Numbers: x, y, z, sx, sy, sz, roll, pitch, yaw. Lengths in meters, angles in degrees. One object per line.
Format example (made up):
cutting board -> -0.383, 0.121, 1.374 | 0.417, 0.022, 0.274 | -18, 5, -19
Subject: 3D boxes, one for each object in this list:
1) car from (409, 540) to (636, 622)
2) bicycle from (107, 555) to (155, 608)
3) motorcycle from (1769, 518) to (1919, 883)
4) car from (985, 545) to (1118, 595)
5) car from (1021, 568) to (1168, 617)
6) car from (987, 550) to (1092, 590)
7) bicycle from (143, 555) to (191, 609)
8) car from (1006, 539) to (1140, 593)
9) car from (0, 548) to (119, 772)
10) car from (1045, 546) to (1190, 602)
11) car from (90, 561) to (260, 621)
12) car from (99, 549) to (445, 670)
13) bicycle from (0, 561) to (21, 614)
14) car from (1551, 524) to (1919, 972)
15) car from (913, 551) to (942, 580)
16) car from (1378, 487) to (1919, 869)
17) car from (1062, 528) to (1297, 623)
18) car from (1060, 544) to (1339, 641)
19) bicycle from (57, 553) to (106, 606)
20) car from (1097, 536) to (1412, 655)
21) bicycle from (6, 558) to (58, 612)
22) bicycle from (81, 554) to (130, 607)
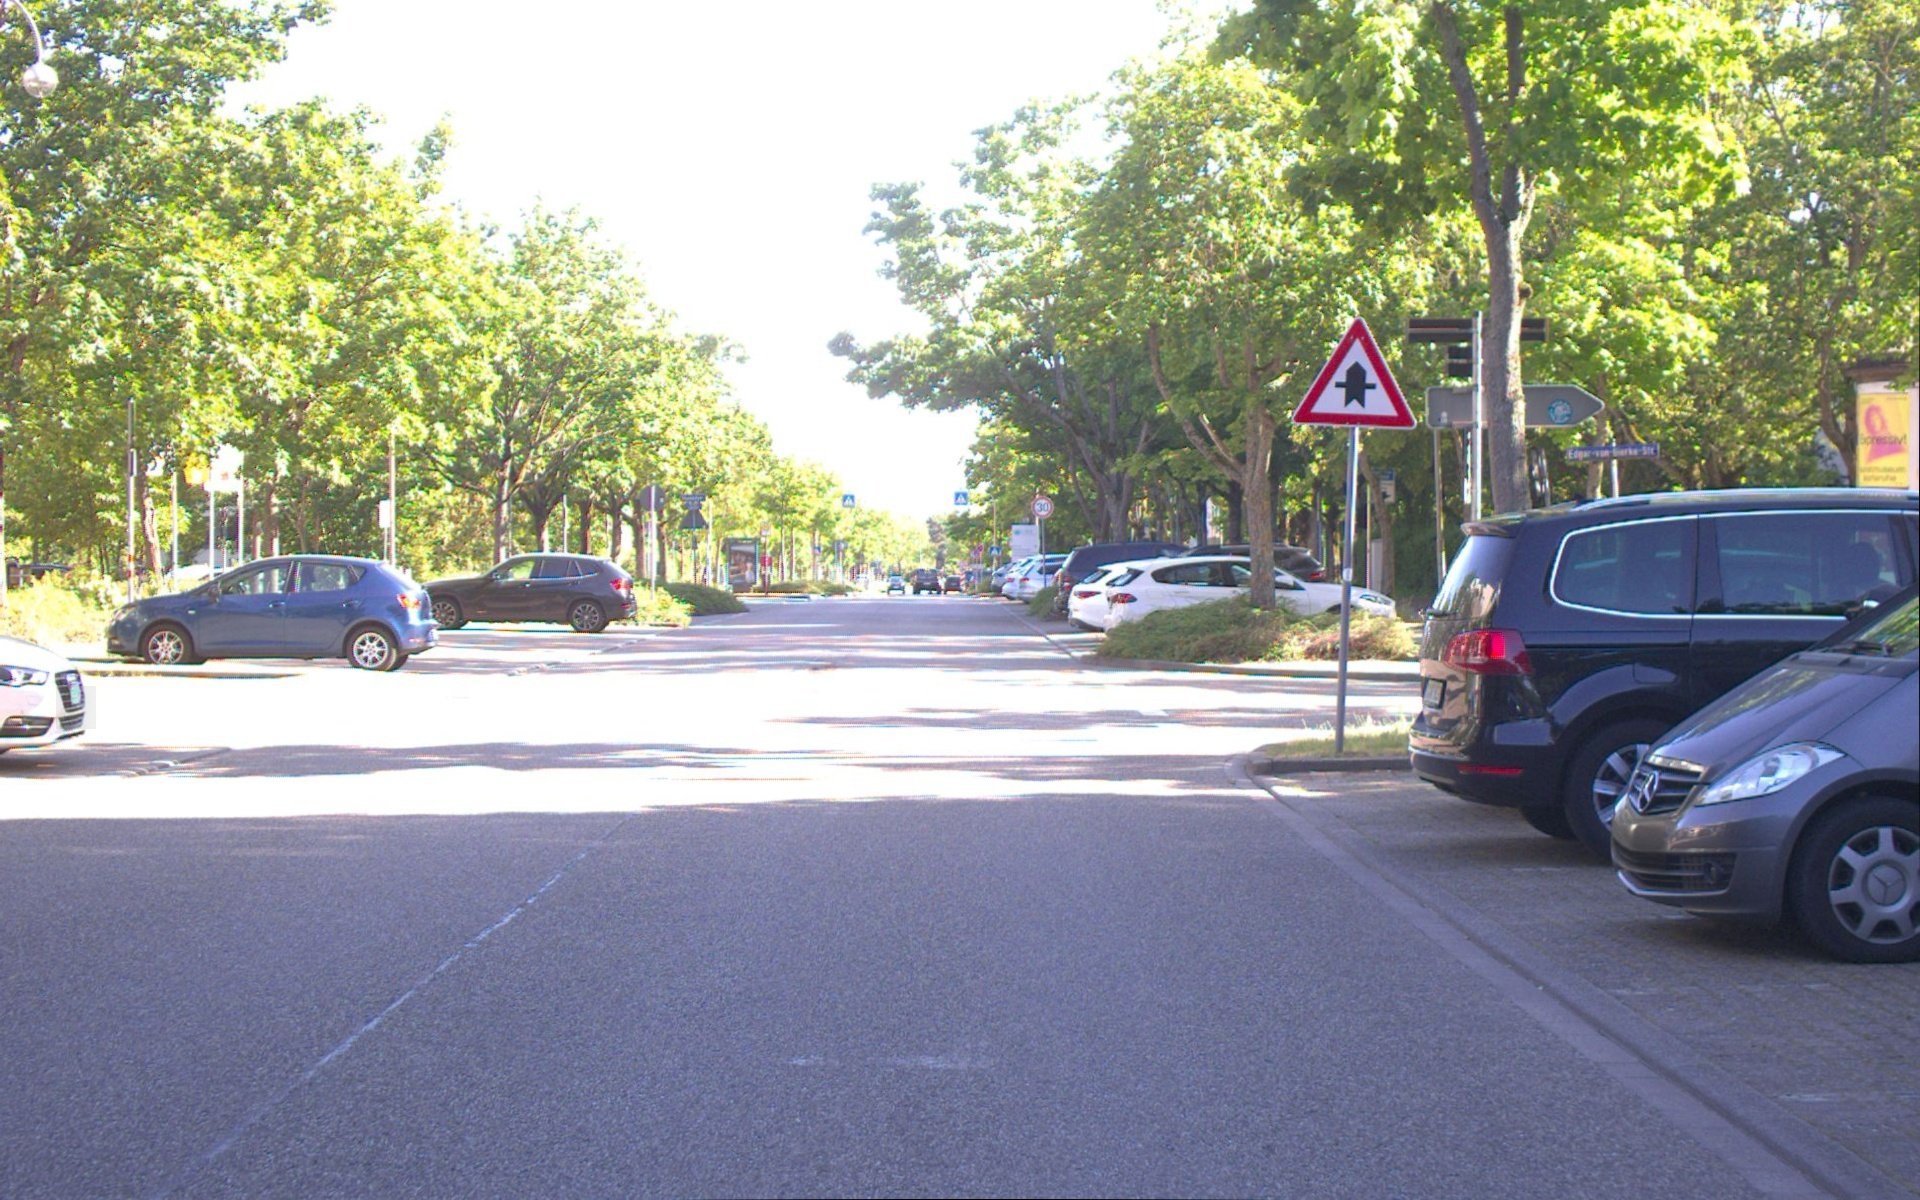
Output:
car -> -8.523, -0.371, 67.237 | 4.192, 1.515, 1.772 | 1, 0, 1
bicycle -> -16.831, -0.384, 69.835 | 0.437, 1.044, 2.193 | 1, 1, 0
motorcycle -> 4.851, 0.412, 15.268 | 2.308, 1.574, 0.767 | -1, 0, 1
car -> 3.075, -1.013, 115.930 | 4.342, 1.484, 1.738 | -2, 1, -2
car -> 4.004, -0.229, 102.145 | 4.275, 1.423, 1.827 | 0, 0, 5
car -> 3.229, -1.242, 140.296 | 4.164, 1.423, 2.000 | -3, 1, 0
bicycle -> -15.759, -0.365, 68.324 | 0.437, 1.044, 2.193 | 1, 1, 0
car -> 3.887, -1.170, 118.628 | 4.435, 1.642, 1.816 | -3, 1, -2
car -> -8.111, 0.376, 23.580 | 4.258, 1.475, 1.800 | 0, 1, -1
car -> 4.427, -0.751, 97.221 | 3.987, 1.446, 1.717 | -2, 1, 0
car -> -20.743, -0.242, 90.928 | 4.077, 1.446, 1.625 | -2, 0, 1
car -> -8.465, 0.108, 42.549 | 3.986, 1.407, 1.817 | 1, 0, -4
bicycle -> -19.240, -0.256, 68.539 | 0.437, 1.044, 2.193 | 1, 1, 0
car -> 4.409, 0.478, 13.152 | 3.869, 1.560, 1.810 | -1, 1, -5
car -> -2.333, -2.467, 246.713 | 1.993, 2.007, 4.000 | 1, 1, 0
car -> 3.997, 0.346, 16.950 | 3.672, 1.745, 1.724 | -1, 1, 2
car -> 4.402, -0.501, 69.430 | 4.587, 1.773, 2.000 | -2, 0, 0
car -> 3.968, -0.137, 57.469 | 4.441, 1.540, 1.818 | 1, 0, -3
bicycle -> -17.844, -0.419, 69.863 | 0.437, 1.044, 2.193 | 1, 1, 0
car -> 4.366, -0.073, 51.414 | 4.426, 1.587, 1.837 | -2, 1, -3
bicycle -> -18.417, -0.303, 68.265 | 0.437, 1.044, 2.193 | 1, 1, 0
bicycle -> -17.350, -0.403, 69.845 | 0.437, 1.044, 2.193 | 1, 1, 0
